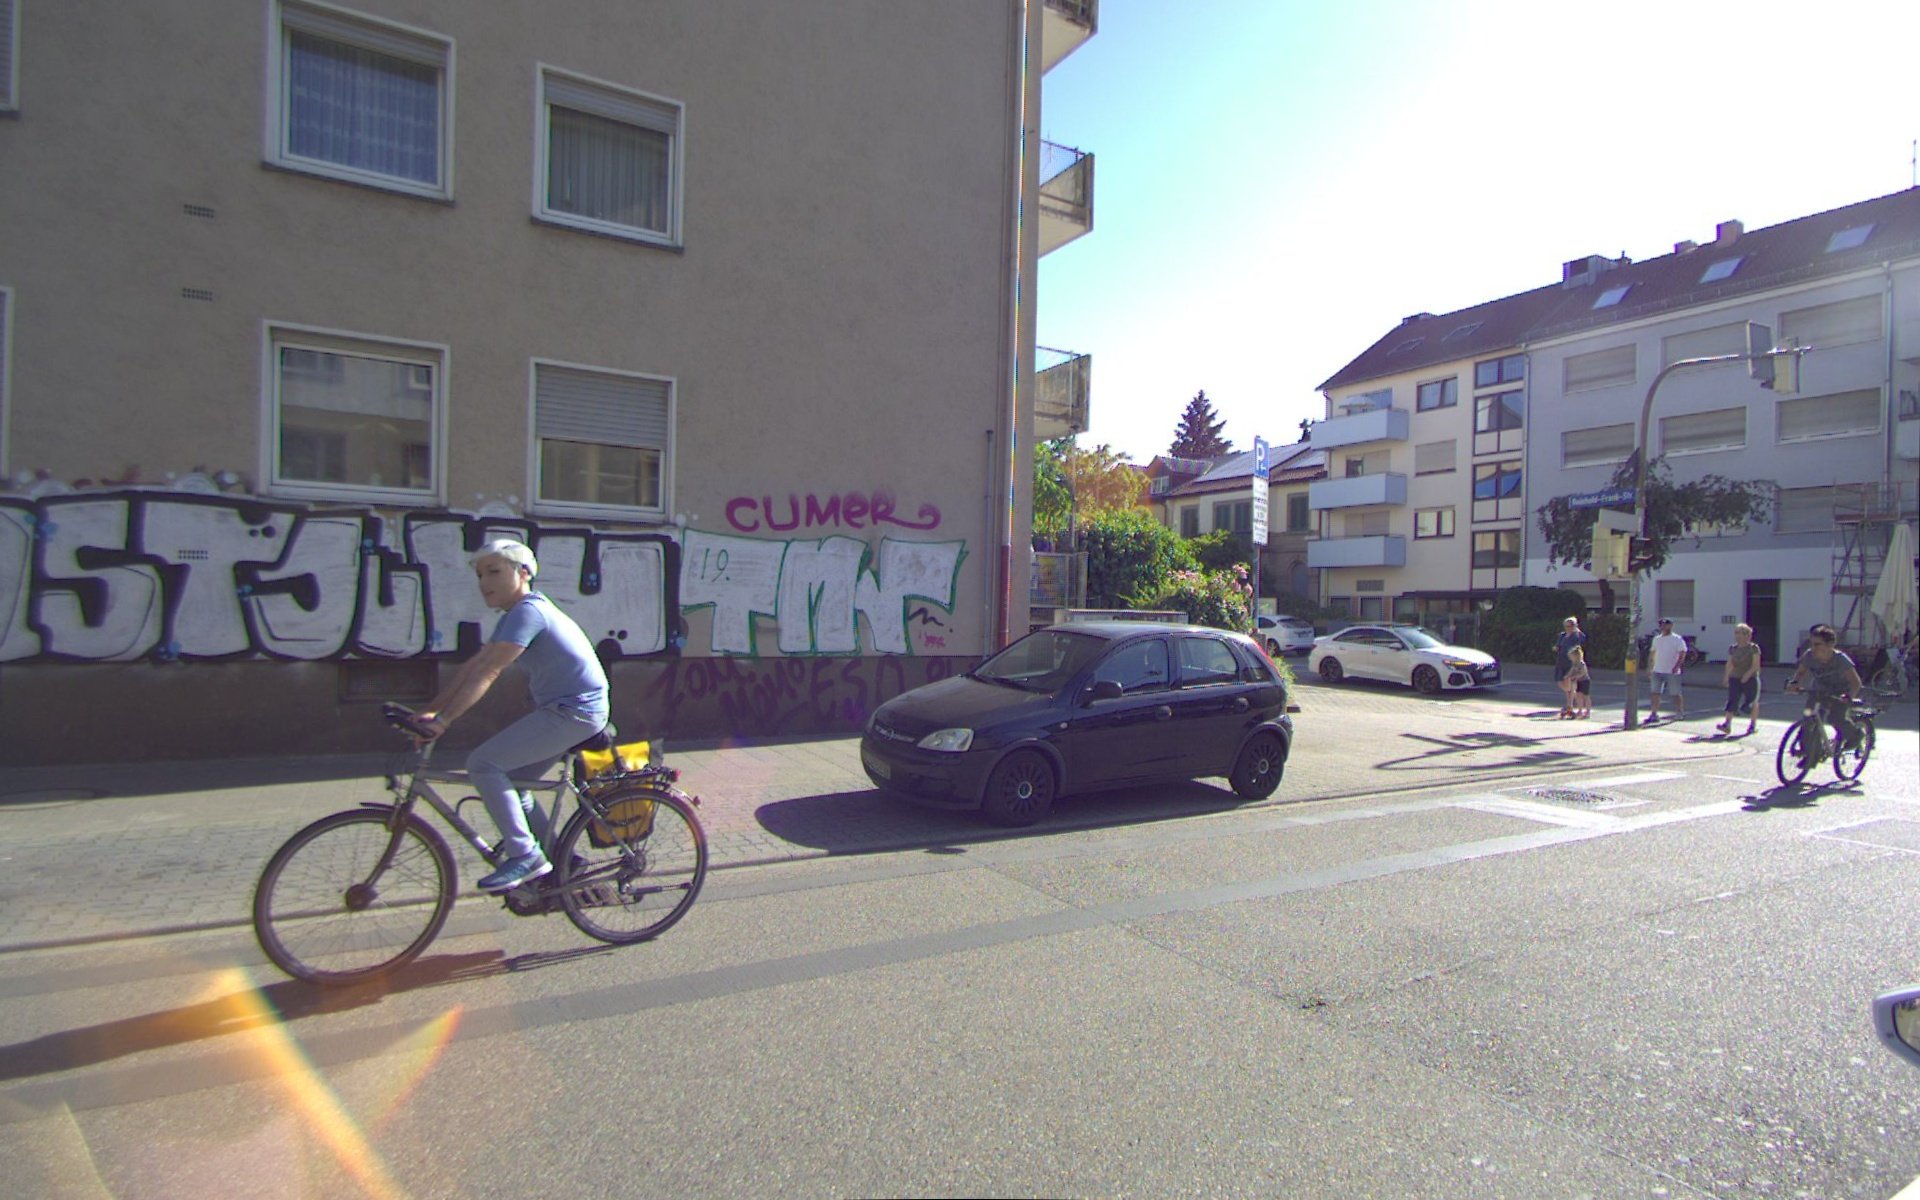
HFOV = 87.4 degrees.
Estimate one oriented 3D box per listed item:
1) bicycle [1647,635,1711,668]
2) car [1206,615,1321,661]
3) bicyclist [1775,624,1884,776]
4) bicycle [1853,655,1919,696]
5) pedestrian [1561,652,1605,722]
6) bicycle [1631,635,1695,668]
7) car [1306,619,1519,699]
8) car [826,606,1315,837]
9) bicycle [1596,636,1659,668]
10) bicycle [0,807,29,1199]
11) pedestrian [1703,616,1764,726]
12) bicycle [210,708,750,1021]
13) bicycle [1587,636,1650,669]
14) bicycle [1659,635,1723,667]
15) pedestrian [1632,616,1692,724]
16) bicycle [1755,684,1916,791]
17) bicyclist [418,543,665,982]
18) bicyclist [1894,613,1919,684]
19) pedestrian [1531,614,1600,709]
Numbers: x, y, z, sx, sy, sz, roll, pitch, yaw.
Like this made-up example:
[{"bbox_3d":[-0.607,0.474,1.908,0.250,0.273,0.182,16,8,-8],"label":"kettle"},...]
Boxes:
[{"bbox_3d":[22.568,1.607,31.560,0.506,0.952,1.583,1,-1,-27],"label":"bicycle"},{"bbox_3d":[11.322,1.378,37.691,1.893,1.539,3.968,0,0,-30],"label":"car"},{"bbox_3d":[8.511,0.951,9.834,0.778,1.409,0.541,1,0,-26],"label":"bicyclist"},{"bbox_3d":[21.741,1.731,22.830,0.550,0.845,2.106,1,0,-40],"label":"bicycle"},{"bbox_3d":[10.635,1.476,17.150,0.524,1.161,0.385,1,0,-22],"label":"pedestrian"},{"bbox_3d":[21.842,1.582,31.215,0.506,0.952,1.583,1,-1,-27],"label":"bicycle"},{"bbox_3d":[10.296,1.266,23.193,1.909,1.455,4.237,-3,2,-27],"label":"car"},{"bbox_3d":[0.987,0.851,8.387,3.813,1.468,1.682,1,2,-32],"label":"car"},{"bbox_3d":[20.760,1.604,31.267,0.506,0.952,1.583,1,-1,-27],"label":"bicycle"},{"bbox_3d":[-2.958,0.963,1.686,1.911,0.964,0.676,1,-2,-30],"label":"bicycle"},{"bbox_3d":[11.558,1.041,15.012,0.555,1.602,0.529,1,0,-27],"label":"pedestrian"},{"bbox_3d":[-1.918,0.994,4.243,1.911,0.964,0.676,1,-2,-30],"label":"bicycle"},{"bbox_3d":[20.264,1.592,30.936,0.506,0.952,1.583,1,-1,-27],"label":"bicycle"},{"bbox_3d":[23.133,1.607,31.827,0.506,0.952,1.583,1,-1,-27],"label":"bicycle"},{"bbox_3d":[11.554,1.135,16.543,0.661,1.711,0.570,1,0,-30],"label":"pedestrian"},{"bbox_3d":[8.639,1.318,9.900,1.802,0.914,0.541,1,0,-26],"label":"bicycle"},{"bbox_3d":[-1.806,0.629,4.319,0.888,1.652,0.676,1,-2,-30],"label":"bicyclist"},{"bbox_3d":[21.795,1.099,22.780,0.550,1.569,0.805,1,0,-40],"label":"bicyclist"},{"bbox_3d":[11.064,1.116,18.364,0.952,1.705,0.573,1,0,-15],"label":"pedestrian"}]
